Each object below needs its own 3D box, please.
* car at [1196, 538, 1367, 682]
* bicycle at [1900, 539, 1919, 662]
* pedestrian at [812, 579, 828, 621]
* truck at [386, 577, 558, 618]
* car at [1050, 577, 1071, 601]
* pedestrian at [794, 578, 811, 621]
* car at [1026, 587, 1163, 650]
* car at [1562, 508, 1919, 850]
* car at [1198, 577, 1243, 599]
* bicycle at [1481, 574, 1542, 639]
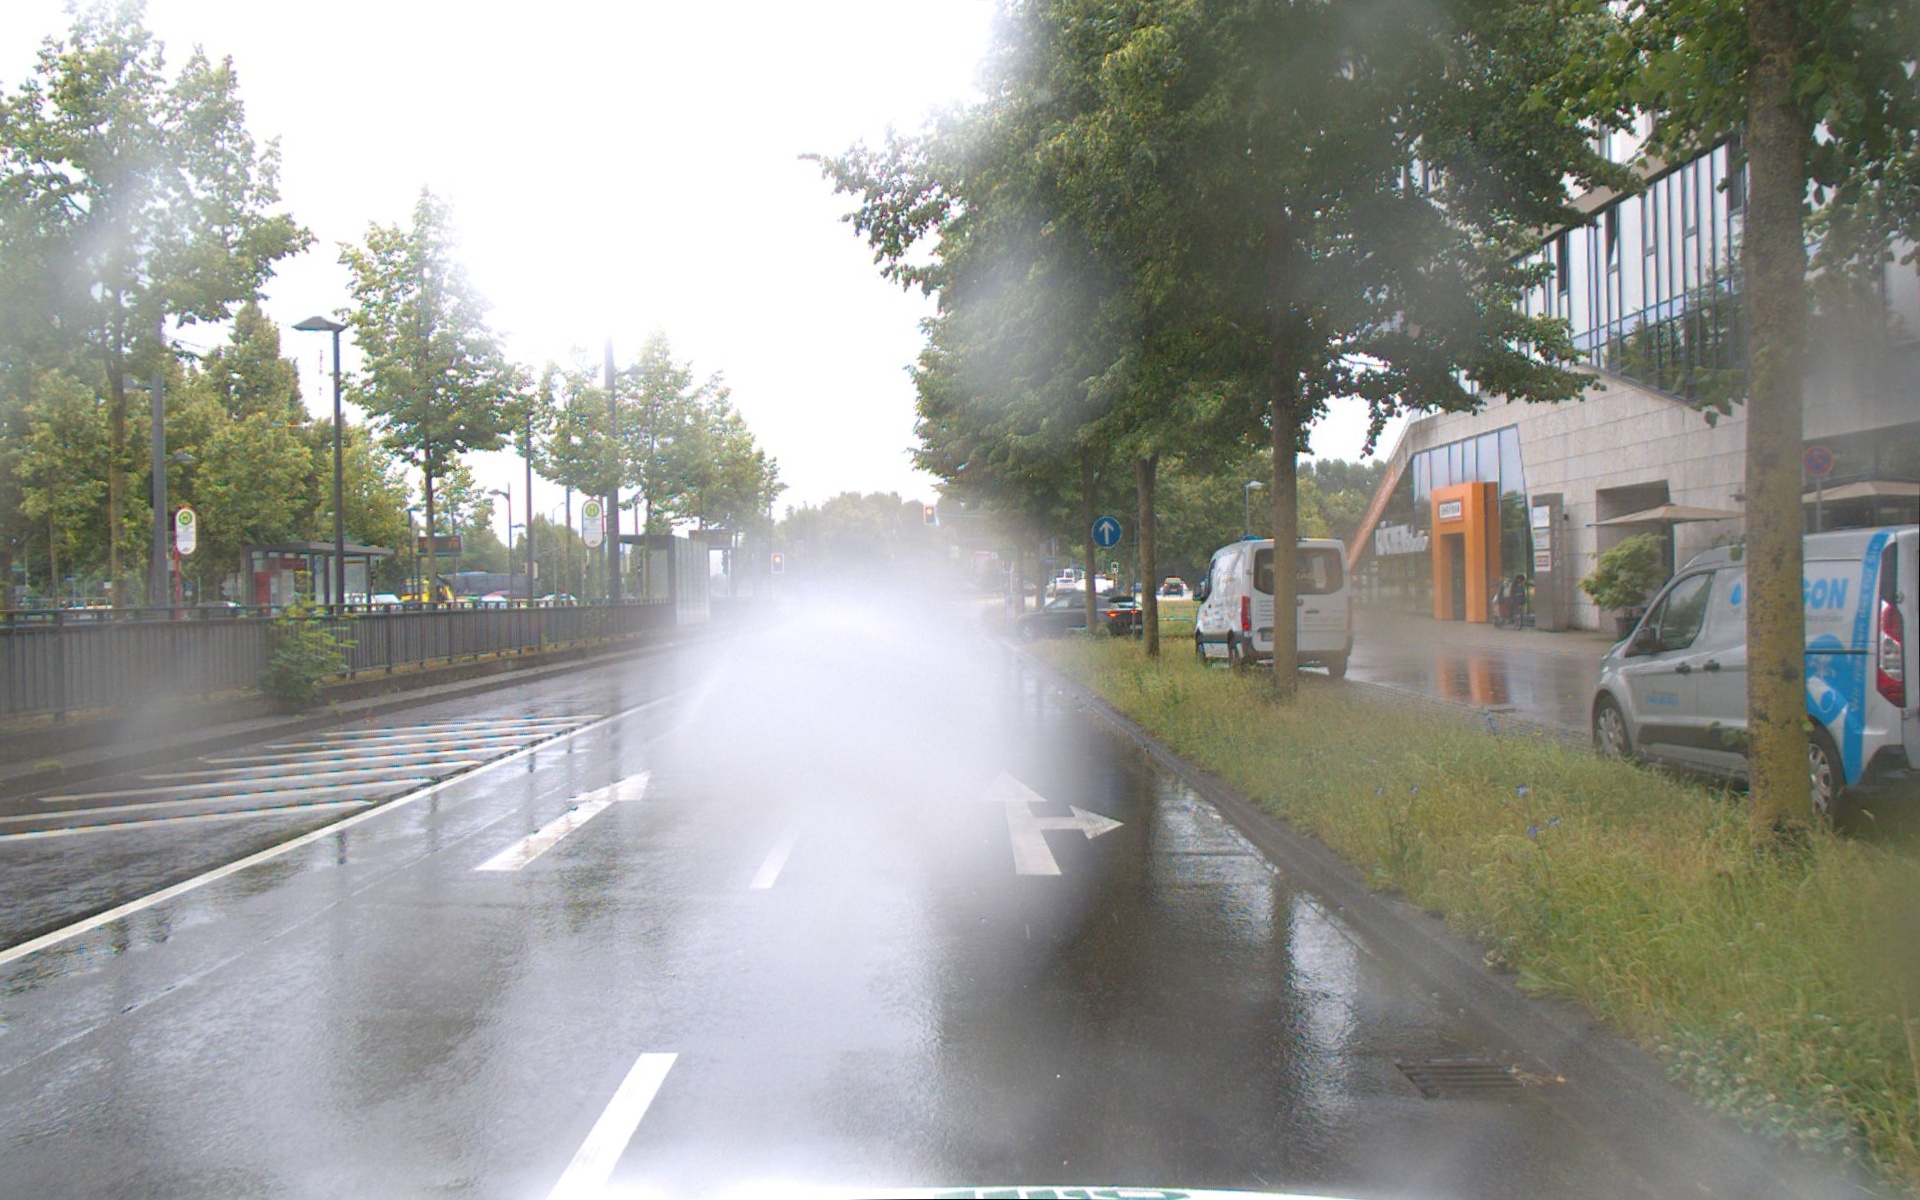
[{"bbox_3d":[5.677,0.150,29.809,2.078,2.313,4.564,-2,0,-1],"label":"car"},{"bbox_3d":[14.111,0.052,22.645,0.631,1.752,3.120,-2,2,-1],"label":"bicycle"},{"bbox_3d":[-6.918,0.001,81.814,0.683,2.048,0.656,-2,2,-1],"label":"pedestrian"},{"bbox_3d":[-40.042,-0.280,136.648,3.450,3.202,14.861,-1,0,34],"label":"truck"},{"bbox_3d":[7.998,-0.863,132.052,1.589,1.729,3.458,-2,3,2],"label":"car"},{"bbox_3d":[-7.678,-0.015,80.654,0.683,2.048,0.656,-2,2,-1],"label":"pedestrian"},{"bbox_3d":[3.736,0.480,46.613,1.799,1.571,3.955,-3,3,-33],"label":"car"},{"bbox_3d":[5.913,0.375,11.187,1.867,1.822,4.687,-2,0,-1],"label":"car"},{"bbox_3d":[21.815,-0.967,138.566,3.380,1.729,1.626,0,3,30],"label":"car"},{"bbox_3d":[14.676,0.150,44.082,0.652,1.561,2.764,-2,2,-1],"label":"bicycle"}]
